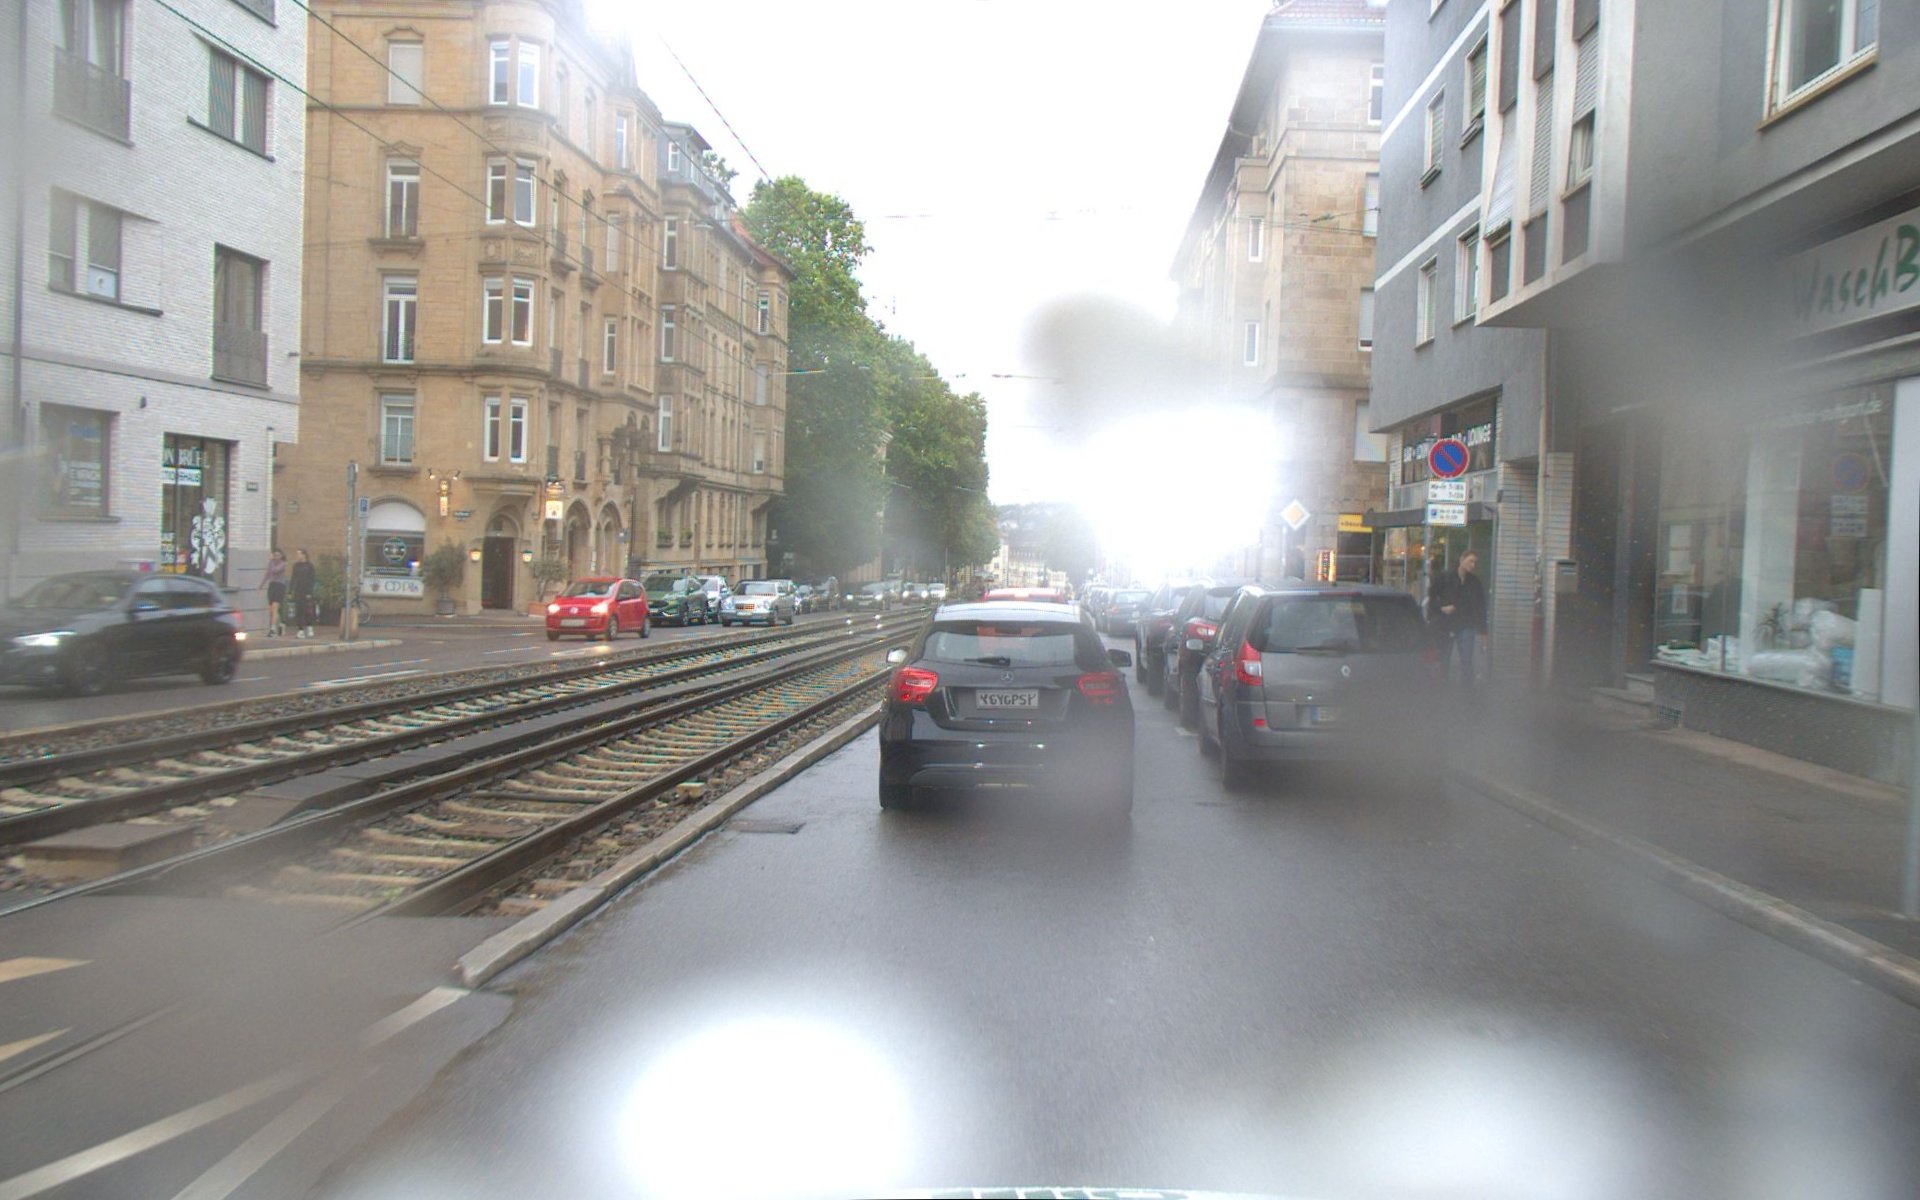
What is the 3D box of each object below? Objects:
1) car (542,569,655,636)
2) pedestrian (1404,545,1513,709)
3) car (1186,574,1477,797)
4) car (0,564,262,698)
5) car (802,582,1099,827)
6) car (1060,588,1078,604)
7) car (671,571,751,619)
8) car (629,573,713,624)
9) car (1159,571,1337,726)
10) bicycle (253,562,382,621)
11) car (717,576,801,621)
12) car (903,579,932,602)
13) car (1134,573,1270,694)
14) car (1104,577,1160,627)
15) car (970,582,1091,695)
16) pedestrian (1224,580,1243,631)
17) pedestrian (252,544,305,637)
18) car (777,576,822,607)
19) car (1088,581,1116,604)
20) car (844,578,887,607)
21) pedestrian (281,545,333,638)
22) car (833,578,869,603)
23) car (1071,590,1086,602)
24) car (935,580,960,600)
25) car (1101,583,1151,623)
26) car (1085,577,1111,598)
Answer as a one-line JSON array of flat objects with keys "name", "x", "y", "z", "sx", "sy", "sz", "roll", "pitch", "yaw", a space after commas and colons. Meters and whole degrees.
[{"name": "car", "x": -8.669, "y": 0.031, "z": 39.927, "sx": 1.645, "sy": 1.523, "sz": 3.521, "roll": 1, "pitch": 1, "yaw": 5}, {"name": "pedestrian", "x": 5.685, "y": 0.292, "z": 18.917, "sx": 0.925, "sy": 1.800, "sz": 1.015, "roll": 1, "pitch": 1, "yaw": 2}, {"name": "car", "x": 3.009, "y": 0.593, "z": 14.341, "sx": 1.728, "sy": 1.586, "sz": 4.748, "roll": 1, "pitch": 1, "yaw": 4}, {"name": "car", "x": -10.342, "y": 0.305, "z": 19.811, "sx": 1.907, "sy": 1.421, "sz": 4.276, "roll": 0, "pitch": 1, "yaw": 4}, {"name": "car", "x": 0.096, "y": 0.644, "z": 12.571, "sx": 1.827, "sy": 1.477, "sz": 4.003, "roll": 2, "pitch": 1, "yaw": 5}, {"name": "car", "x": 9.928, "y": -0.369, "z": 151.162, "sx": 1.579, "sy": 1.340, "sz": 4.002, "roll": 1, "pitch": 1, "yaw": 4}, {"name": "car", "x": -8.814, "y": -0.183, "z": 58.837, "sx": 1.768, "sy": 1.624, "sz": 4.528, "roll": 1, "pitch": 1, "yaw": 5}, {"name": "car", "x": -9.274, "y": -0.070, "z": 53.333, "sx": 1.686, "sy": 1.568, "sz": 3.936, "roll": 1, "pitch": 1, "yaw": 5}, {"name": "car", "x": 3.428, "y": 0.514, "z": 20.341, "sx": 1.647, "sy": 1.699, "sz": 4.124, "roll": 1, "pitch": 1, "yaw": 3}, {"name": "bicycle", "x": -18.221, "y": -0.245, "z": 47.007, "sx": 3.087, "sy": 1.612, "sz": 1.595, "roll": 0, "pitch": 1, "yaw": -8}, {"name": "car", "x": -6.558, "y": -0.075, "z": 54.530, "sx": 1.768, "sy": 1.384, "sz": 4.766, "roll": 1, "pitch": 1, "yaw": 5}, {"name": "car", "x": -2.793, "y": -0.633, "z": 109.146, "sx": 1.536, "sy": 1.438, "sz": 3.483, "roll": 1, "pitch": 1, "yaw": 5}, {"name": "car", "x": 3.678, "y": 0.444, "z": 25.843, "sx": 1.713, "sy": 1.699, "sz": 4.706, "roll": 1, "pitch": 1, "yaw": 4}, {"name": "car", "x": 5.431, "y": 0.049, "z": 52.452, "sx": 1.588, "sy": 1.510, "sz": 4.002, "roll": 1, "pitch": 1, "yaw": 4}, {"name": "car", "x": 1.084, "y": 0.502, "z": 24.716, "sx": 1.615, "sy": 1.477, "sz": 4.002, "roll": 2, "pitch": 1, "yaw": 3}, {"name": "pedestrian", "x": 8.187, "y": 0.169, "z": 49.494, "sx": 0.445, "sy": 1.492, "sz": 0.611, "roll": 1, "pitch": 0, "yaw": 3}, {"name": "pedestrian", "x": -13.566, "y": -0.181, "z": 32.939, "sx": 0.627, "sy": 1.818, "sz": 0.924, "roll": 0, "pitch": -1, "yaw": 3}, {"name": "car", "x": -7.664, "y": -0.401, "z": 79.151, "sx": 1.536, "sy": 1.438, "sz": 3.483, "roll": 1, "pitch": 1, "yaw": 5}, {"name": "car", "x": 8.675, "y": -0.457, "z": 101.295, "sx": 1.579, "sy": 1.340, "sz": 4.002, "roll": 1, "pitch": 1, "yaw": 4}, {"name": "car", "x": -4.695, "y": -0.373, "z": 82.527, "sx": 1.659, "sy": 1.413, "sz": 3.483, "roll": 1, "pitch": 1, "yaw": 5}, {"name": "pedestrian", "x": -12.927, "y": -0.159, "z": 32.755, "sx": 0.616, "sy": 1.818, "sz": 0.882, "roll": 0, "pitch": -1, "yaw": 3}, {"name": "car", "x": -6.437, "y": -0.547, "z": 97.921, "sx": 1.536, "sy": 1.438, "sz": 3.483, "roll": 1, "pitch": 1, "yaw": 5}, {"name": "car", "x": 13.446, "y": -0.427, "z": 187.741, "sx": 1.579, "sy": 1.340, "sz": 4.002, "roll": 1, "pitch": 1, "yaw": 4}, {"name": "car", "x": -0.964, "y": -0.776, "z": 125.835, "sx": 1.536, "sy": 1.438, "sz": 3.483, "roll": 1, "pitch": 1, "yaw": 5}, {"name": "car", "x": 5.755, "y": 0.070, "z": 57.794, "sx": 1.579, "sy": 1.340, "sz": 4.002, "roll": 1, "pitch": 1, "yaw": 4}, {"name": "car", "x": 9.076, "y": -0.859, "z": 108.873, "sx": 1.579, "sy": 1.340, "sz": 4.002, "roll": 1, "pitch": 1, "yaw": 4}]
